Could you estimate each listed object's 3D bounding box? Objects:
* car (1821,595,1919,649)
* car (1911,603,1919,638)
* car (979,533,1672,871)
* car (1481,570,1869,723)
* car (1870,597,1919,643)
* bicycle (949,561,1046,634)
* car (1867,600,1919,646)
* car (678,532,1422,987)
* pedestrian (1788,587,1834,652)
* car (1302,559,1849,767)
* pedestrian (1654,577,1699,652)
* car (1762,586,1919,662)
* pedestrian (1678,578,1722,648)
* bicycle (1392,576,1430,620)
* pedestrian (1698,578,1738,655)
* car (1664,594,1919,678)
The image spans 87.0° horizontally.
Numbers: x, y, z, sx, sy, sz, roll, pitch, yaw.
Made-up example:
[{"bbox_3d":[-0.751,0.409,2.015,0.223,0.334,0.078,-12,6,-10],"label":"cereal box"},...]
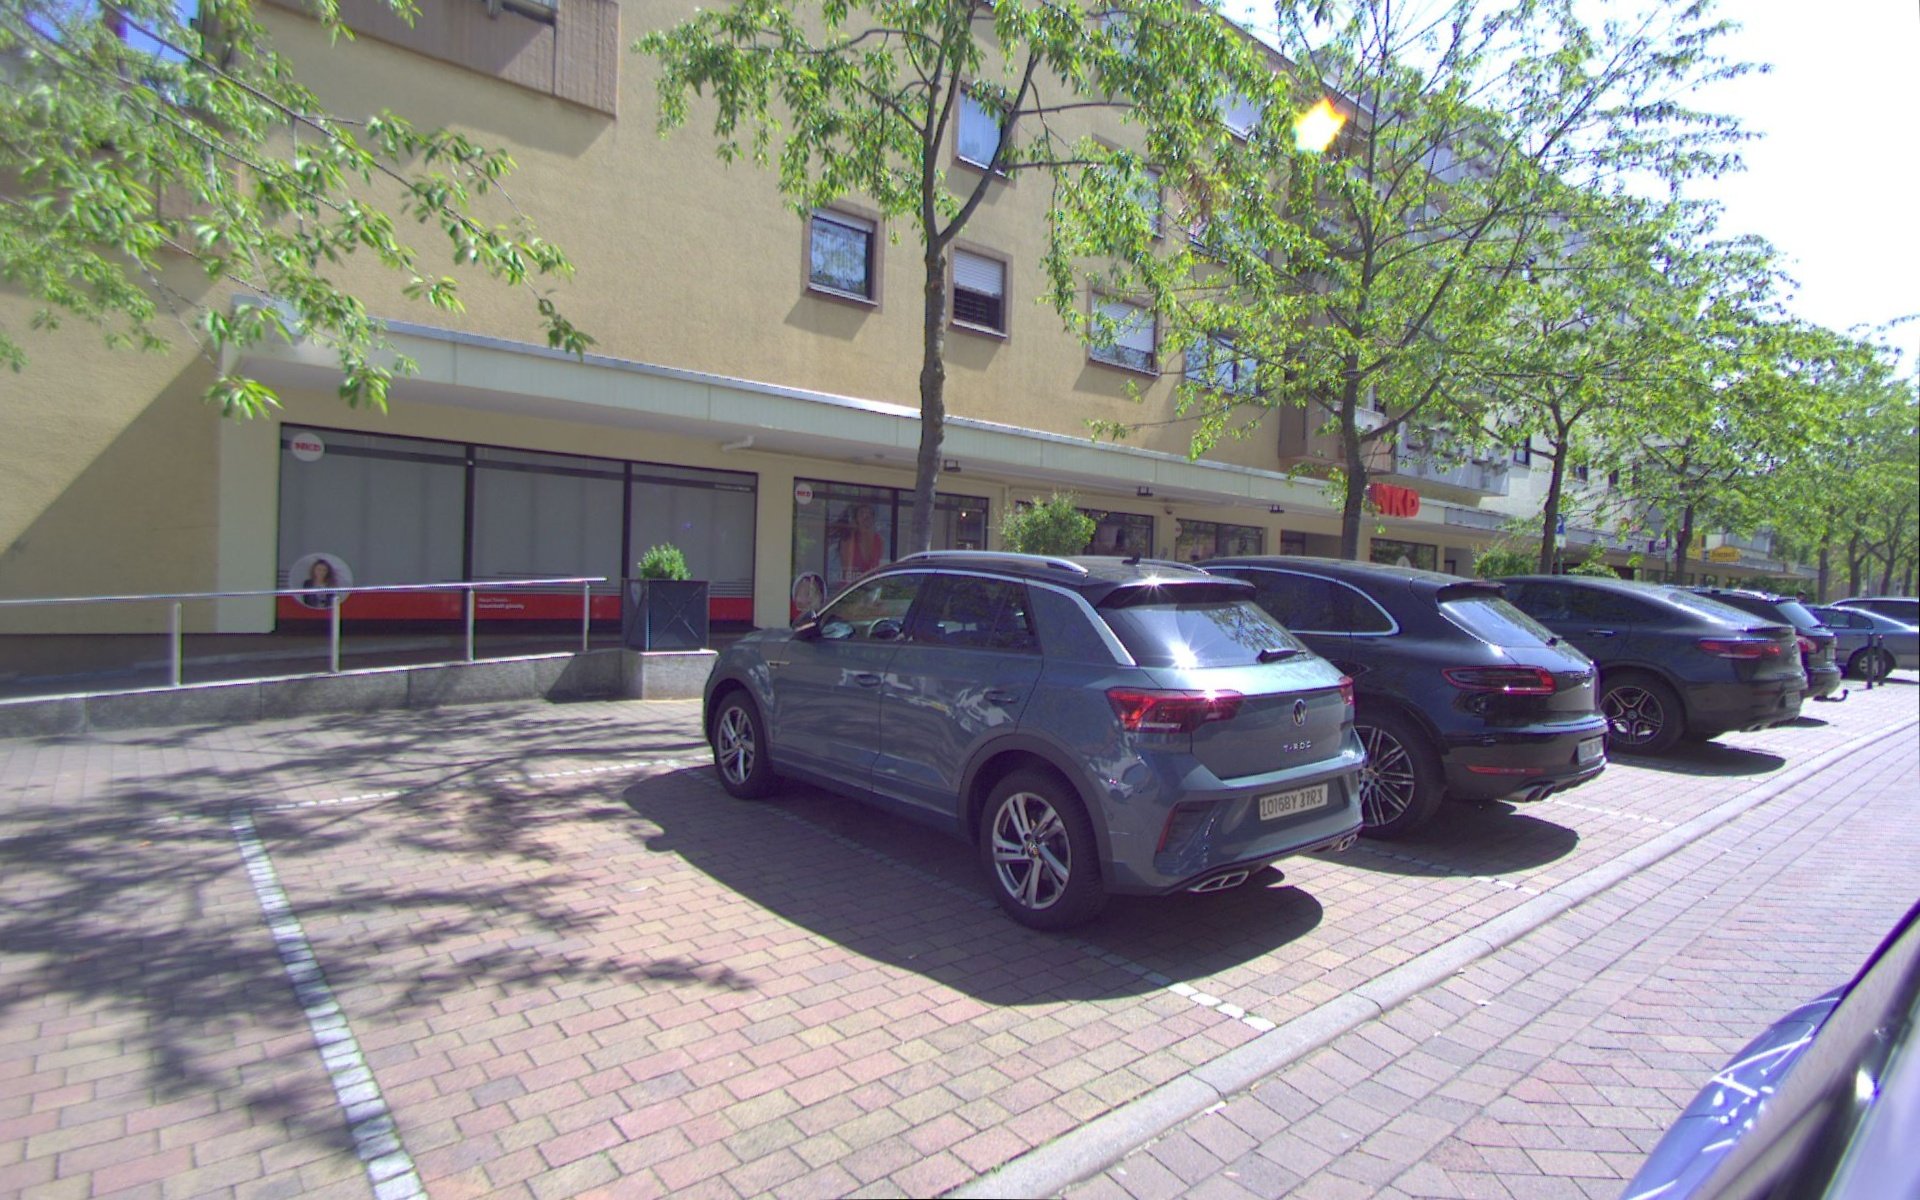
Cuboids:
[{"bbox_3d":[30.640,0.737,32.275,1.774,1.562,4.586,1,3,-39],"label":"car"},{"bbox_3d":[40.223,0.915,40.189,1.434,1.407,3.401,1,2,-39],"label":"car"},{"bbox_3d":[2.334,0.418,7.359,1.966,1.701,4.286,1,2,-42],"label":"car"},{"bbox_3d":[9.631,0.503,13.904,1.652,1.631,4.035,0,3,-41],"label":"car"},{"bbox_3d":[34.510,0.765,35.470,1.604,1.535,3.652,1,2,-39],"label":"car"},{"bbox_3d":[0.632,-0.036,16.472,1.742,1.138,0.413,0,0,-39],"label":"bicycle"},{"bbox_3d":[32.810,0.826,33.580,1.585,1.449,3.801,1,3,-39],"label":"car"},{"bbox_3d":[0.160,0.466,5.628,1.792,1.552,3.953,1,3,-41],"label":"car"},{"bbox_3d":[24.258,0.534,28.841,0.853,1.803,0.760,1,0,-33],"label":"pedestrian"},{"bbox_3d":[6.127,0.458,10.628,1.816,1.608,4.522,1,2,-38],"label":"car"},{"bbox_3d":[17.477,0.353,24.698,0.622,1.795,0.684,1,0,12],"label":"pedestrian"},{"bbox_3d":[22.431,0.579,24.670,1.726,1.637,4.252,1,2,-41],"label":"car"},{"bbox_3d":[18.754,0.321,25.668,0.635,1.752,0.617,0,0,-6],"label":"pedestrian"},{"bbox_3d":[11.427,-0.046,25.608,1.291,1.081,0.360,0,0,-41],"label":"bicycle"},{"bbox_3d":[18.287,0.383,24.415,0.599,1.819,0.623,1,0,22],"label":"pedestrian"},{"bbox_3d":[17.498,0.693,21.159,4.350,1.481,1.871,3,2,30],"label":"car"}]
